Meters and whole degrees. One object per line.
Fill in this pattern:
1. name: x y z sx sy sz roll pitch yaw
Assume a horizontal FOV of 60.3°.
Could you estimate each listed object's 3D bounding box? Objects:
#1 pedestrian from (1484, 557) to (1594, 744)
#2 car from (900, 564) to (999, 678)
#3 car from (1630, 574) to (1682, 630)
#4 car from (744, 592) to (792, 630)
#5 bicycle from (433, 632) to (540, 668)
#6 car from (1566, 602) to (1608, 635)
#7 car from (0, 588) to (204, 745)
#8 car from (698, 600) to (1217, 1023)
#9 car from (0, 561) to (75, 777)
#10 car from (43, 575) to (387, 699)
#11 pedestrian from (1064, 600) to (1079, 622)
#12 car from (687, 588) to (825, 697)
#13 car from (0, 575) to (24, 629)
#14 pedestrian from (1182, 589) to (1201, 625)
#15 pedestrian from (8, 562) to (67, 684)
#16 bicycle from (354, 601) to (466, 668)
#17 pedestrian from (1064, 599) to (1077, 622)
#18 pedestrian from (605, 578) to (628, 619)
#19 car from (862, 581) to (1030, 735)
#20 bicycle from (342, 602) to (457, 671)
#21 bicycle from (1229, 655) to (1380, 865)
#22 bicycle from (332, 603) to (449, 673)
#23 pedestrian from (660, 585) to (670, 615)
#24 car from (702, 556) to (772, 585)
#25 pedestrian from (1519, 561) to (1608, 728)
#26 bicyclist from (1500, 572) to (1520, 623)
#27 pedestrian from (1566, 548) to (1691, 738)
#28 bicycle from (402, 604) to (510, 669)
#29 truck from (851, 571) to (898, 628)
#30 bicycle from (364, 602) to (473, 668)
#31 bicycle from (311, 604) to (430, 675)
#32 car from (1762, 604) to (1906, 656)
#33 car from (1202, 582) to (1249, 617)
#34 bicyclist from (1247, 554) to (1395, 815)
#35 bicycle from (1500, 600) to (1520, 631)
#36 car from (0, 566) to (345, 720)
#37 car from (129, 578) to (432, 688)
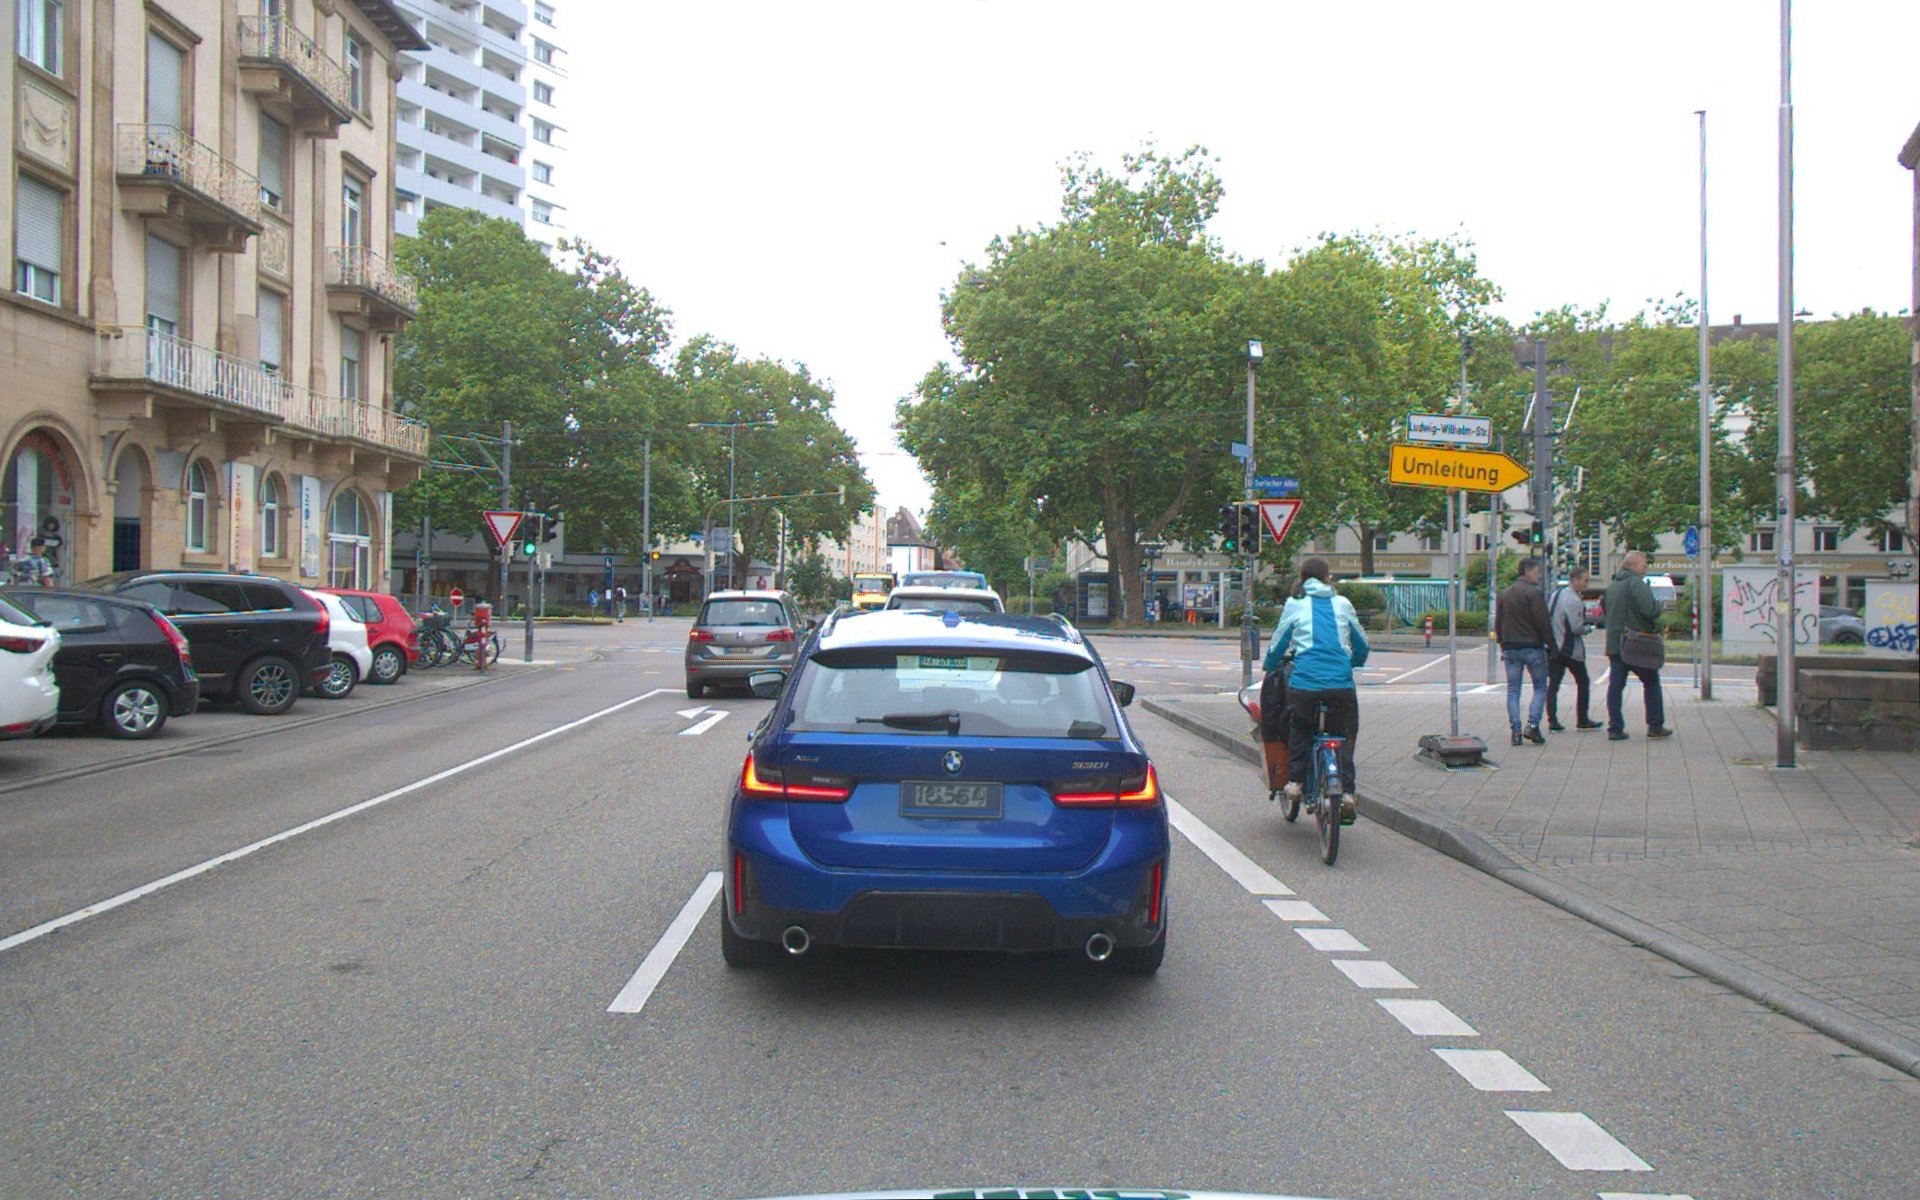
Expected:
1. pedestrian: 5.535 0.463 15.847 0.660 1.715 0.969 -2 0 -1
2. car: -0.217 0.364 31.806 1.778 2.040 3.999 0 0 -1
3. car: 34.925 0.069 82.914 2.191 2.685 5.443 1 0 25
4. car: -7.828 0.434 67.605 1.615 1.472 3.510 0 0 -1
5. bicycle: -9.476 1.001 33.157 1.849 0.453 1.028 6 1 -3
6. car: 30.942 0.903 81.571 1.632 1.542 3.935 1 0 25
7. car: -9.920 0.632 16.590 3.959 1.521 1.708 1 0 -39
8. car: -0.036 0.729 7.855 1.778 1.430 4.319 0 0 -1
9. car: -9.599 0.527 13.615 3.937 1.754 1.826 1 0 -26
10. car: -10.110 0.528 22.619 3.968 1.498 1.540 3 0 -44
11. pedestrian: 6.960 0.683 103.104 0.835 1.337 0.762 0 0 -1
12. car: -3.082 0.604 25.723 1.697 1.551 3.999 0 0 -1
13. car: -15.600 0.025 25.774 0.894 0.849 2.014 1 0 -1
14. pedestrian: 11.436 0.336 81.696 0.768 1.774 0.925 0 0 -2
15. pedestrian: -13.883 0.337 24.902 0.555 1.816 0.551 0 0 0
16. bicycle: -10.277 0.642 30.922 1.849 1.053 0.442 6 0 -3
17. pedestrian: 6.950 0.649 104.061 0.801 1.396 0.762 0 0 -1
18. pedestrian: -15.261 -0.066 73.493 0.664 1.802 0.722 0 0 41
19. car: -0.177 0.607 19.531 1.778 1.620 3.999 0 0 -1
20. bicycle: -10.249 0.665 30.260 1.849 1.053 0.442 6 0 -3
21. bicycle: 2.146 0.950 10.535 0.484 1.117 2.138 0 0 -1
22. bicycle: -10.227 0.685 29.725 1.849 1.053 0.442 6 0 -3
23. pedestrian: -17.724 -0.023 99.233 0.561 1.802 0.513 0 0 -13
24. car: -14.215 -1.879 105.425 3.953 1.736 1.976 1 -1 -35
25. pedestrian: 6.380 0.453 17.520 0.619 1.702 0.970 -2 0 6
26. bicyclist: 18.448 -0.075 55.452 0.601 1.683 0.754 0 0 20
27. pedestrian: 6.579 0.409 16.328 0.788 1.789 0.969 -2 0 -1
28. bicycle: -9.779 0.699 32.113 1.849 1.053 0.442 6 0 -3
29. truck: -3.823 -0.054 74.433 2.033 2.450 5.459 0 0 -3
30. bicycle: -10.323 0.658 31.557 1.849 1.053 0.442 6 0 -3
31. bicycle: -10.303 0.685 28.908 1.848 1.053 0.442 5 0 2
32. car: 27.802 0.929 52.730 3.895 1.589 1.687 0 0 22
33. car: 17.458 -0.042 108.448 2.130 2.239 3.999 0 0 23
34. bicyclist: 2.235 0.497 10.344 0.672 1.544 1.058 0 0 -1
35. bicycle: 18.443 0.519 55.440 0.540 1.013 2.061 0 0 21
36. car: -9.825 0.485 19.935 4.192 1.680 1.704 1 0 -44
37. car: -10.362 0.504 25.431 1.653 1.498 3.978 3 0 40
